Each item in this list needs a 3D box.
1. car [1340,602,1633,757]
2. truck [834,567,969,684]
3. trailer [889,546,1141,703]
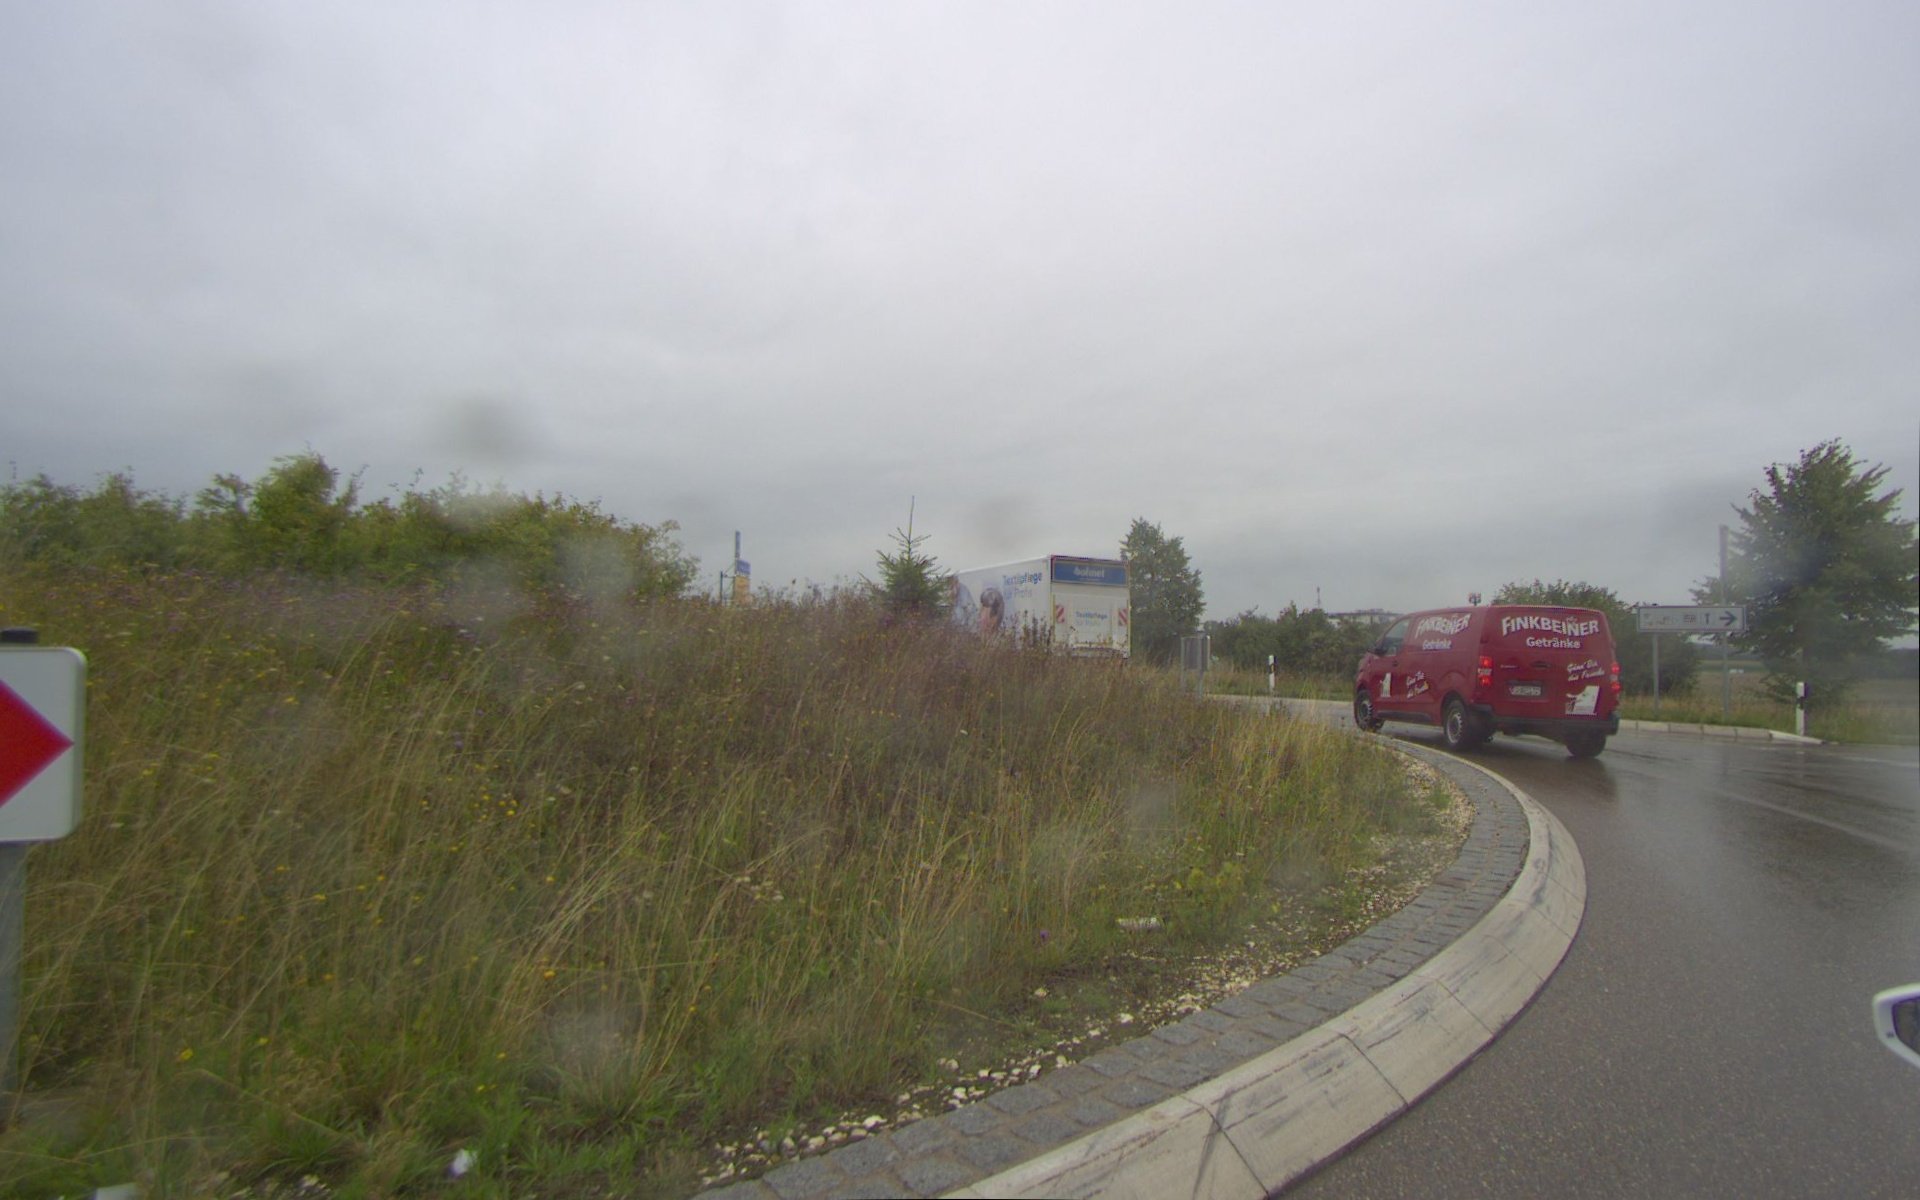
[{"bbox_3d":[7.432,1.046,14.882,1.960,1.895,4.981,0,-2,3],"label":"car"},{"bbox_3d":[-2.367,0.982,37.333,2.767,3.869,7.652,1,-2,-21],"label":"truck"},{"bbox_3d":[1.191,0.785,29.731,2.807,3.869,9.642,1,-2,-29],"label":"trailer"}]
